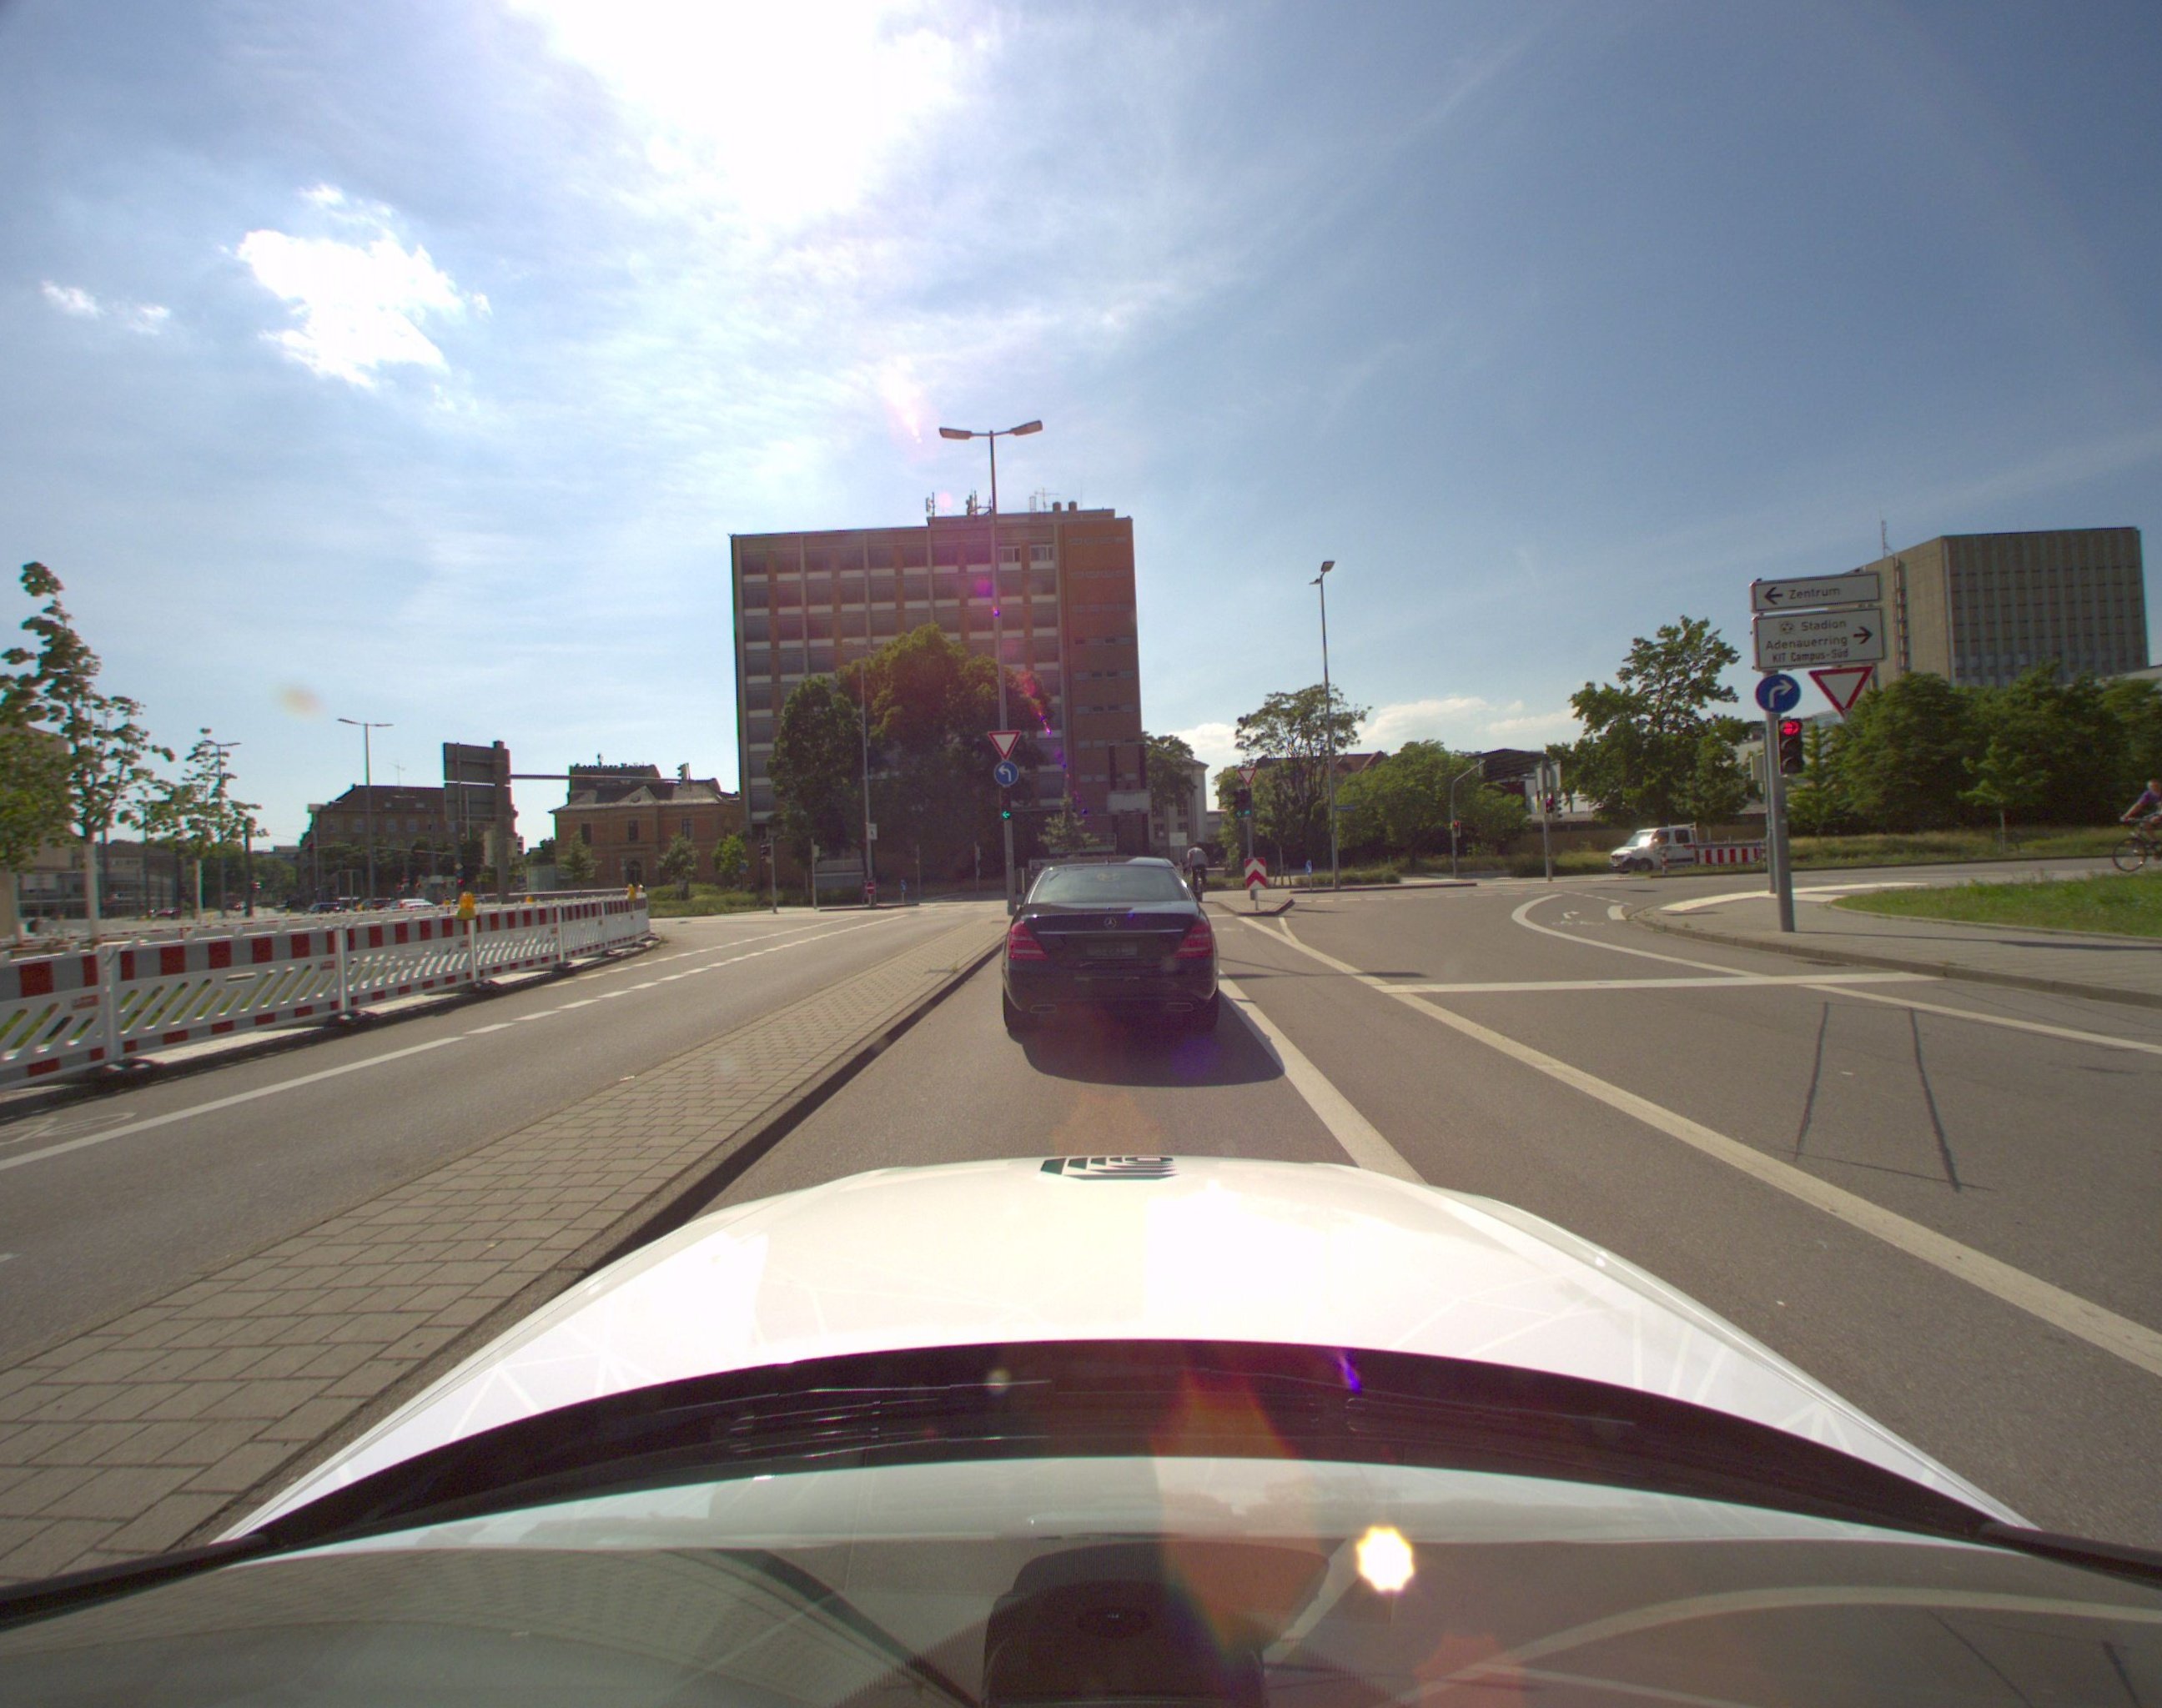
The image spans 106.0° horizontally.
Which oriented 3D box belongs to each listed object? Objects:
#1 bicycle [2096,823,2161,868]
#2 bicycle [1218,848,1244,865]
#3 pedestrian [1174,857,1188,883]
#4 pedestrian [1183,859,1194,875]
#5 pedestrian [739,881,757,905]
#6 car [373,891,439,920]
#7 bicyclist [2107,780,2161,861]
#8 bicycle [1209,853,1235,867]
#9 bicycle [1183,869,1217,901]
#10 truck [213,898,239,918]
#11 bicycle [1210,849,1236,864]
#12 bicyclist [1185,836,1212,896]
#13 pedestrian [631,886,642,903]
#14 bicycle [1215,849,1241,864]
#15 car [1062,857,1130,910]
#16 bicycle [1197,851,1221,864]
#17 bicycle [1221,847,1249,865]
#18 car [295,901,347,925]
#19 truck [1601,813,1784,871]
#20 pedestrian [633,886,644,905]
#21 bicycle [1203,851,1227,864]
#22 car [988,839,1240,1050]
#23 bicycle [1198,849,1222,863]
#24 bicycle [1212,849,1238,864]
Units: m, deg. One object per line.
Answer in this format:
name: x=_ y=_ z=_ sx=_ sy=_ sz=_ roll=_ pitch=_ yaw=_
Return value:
bicycle: x=22.335 y=-0.202 z=16.647 sx=1.911 sy=0.887 sz=0.688 roll=-3 pitch=-1 yaw=17
bicycle: x=17.059 y=0.286 z=92.684 sx=2.813 sy=1.744 sz=0.842 roll=-3 pitch=-1 yaw=1
pedestrian: x=6.424 y=1.028 z=52.392 sx=0.807 sy=1.579 sz=0.693 roll=-3 pitch=-1 yaw=3
pedestrian: x=8.274 y=1.002 z=62.843 sx=0.788 sy=1.214 sz=0.759 roll=-1 pitch=-1 yaw=8
pedestrian: x=-24.818 y=2.920 z=60.629 sx=0.790 sy=1.725 sz=0.878 roll=-3 pitch=-2 yaw=24
car: x=-47.897 y=3.651 z=57.768 sx=3.951 sy=1.816 sz=2.011 roll=-3 pitch=-1 yaw=24
bicyclist: x=22.141 y=-0.697 z=16.790 sx=0.485 sy=1.637 sz=1.084 roll=-3 pitch=-1 yaw=-1
bicycle: x=16.814 y=0.674 z=97.205 sx=2.813 sy=1.537 sz=0.842 roll=-3 pitch=0 yaw=1
bicycle: x=3.737 y=0.962 z=25.679 sx=0.691 sy=0.946 sz=1.956 roll=0 pitch=-1 yaw=-3
truck: x=-165.541 y=10.466 z=157.623 sx=7.827 sy=3.730 sz=3.093 roll=-4 pitch=-1 yaw=41
bicycle: x=16.797 y=0.250 z=96.219 sx=2.813 sy=1.587 sz=0.842 roll=-3 pitch=0 yaw=1
bicyclist: x=3.731 y=0.378 z=25.861 sx=0.684 sy=1.878 sz=0.859 roll=-1 pitch=-1 yaw=-2
pedestrian: x=-44.001 y=4.026 z=80.661 sx=0.644 sy=1.661 sz=0.652 roll=-3 pitch=-1 yaw=9
bicycle: x=16.983 y=0.278 z=94.224 sx=2.813 sy=1.649 sz=0.842 roll=-3 pitch=0 yaw=1
car: x=0.500 y=0.880 z=25.691 sx=1.986 sy=1.508 sz=4.001 roll=0 pitch=-1 yaw=2
bicycle: x=16.598 y=0.483 z=105.631 sx=2.812 sy=1.480 sz=0.842 roll=-3 pitch=0 yaw=2
bicycle: x=17.116 y=0.239 z=90.422 sx=2.813 sy=1.836 sz=0.842 roll=-3 pitch=-1 yaw=1
car: x=-55.572 y=4.315 z=59.542 sx=3.948 sy=1.510 sz=1.811 roll=-3 pitch=-1 yaw=32
truck: x=29.958 y=-0.553 z=40.117 sx=6.997 sy=2.356 sz=2.414 roll=-3 pitch=-2 yaw=2
pedestrian: x=-39.646 y=3.747 z=72.968 sx=0.642 sy=1.661 sz=0.654 roll=-1 pitch=-1 yaw=28
bicycle: x=16.984 y=0.460 z=103.454 sx=2.813 sy=1.500 sz=0.842 roll=-3 pitch=0 yaw=1
car: x=0.200 y=0.693 z=8.399 sx=1.853 sy=1.530 sz=4.710 roll=-1 pitch=-1 yaw=-1
bicycle: x=16.013 y=0.213 z=101.278 sx=2.813 sy=1.559 sz=0.842 roll=-3 pitch=0 yaw=1
bicycle: x=16.816 y=0.300 z=95.236 sx=2.813 sy=1.659 sz=0.842 roll=-3 pitch=1 yaw=1
